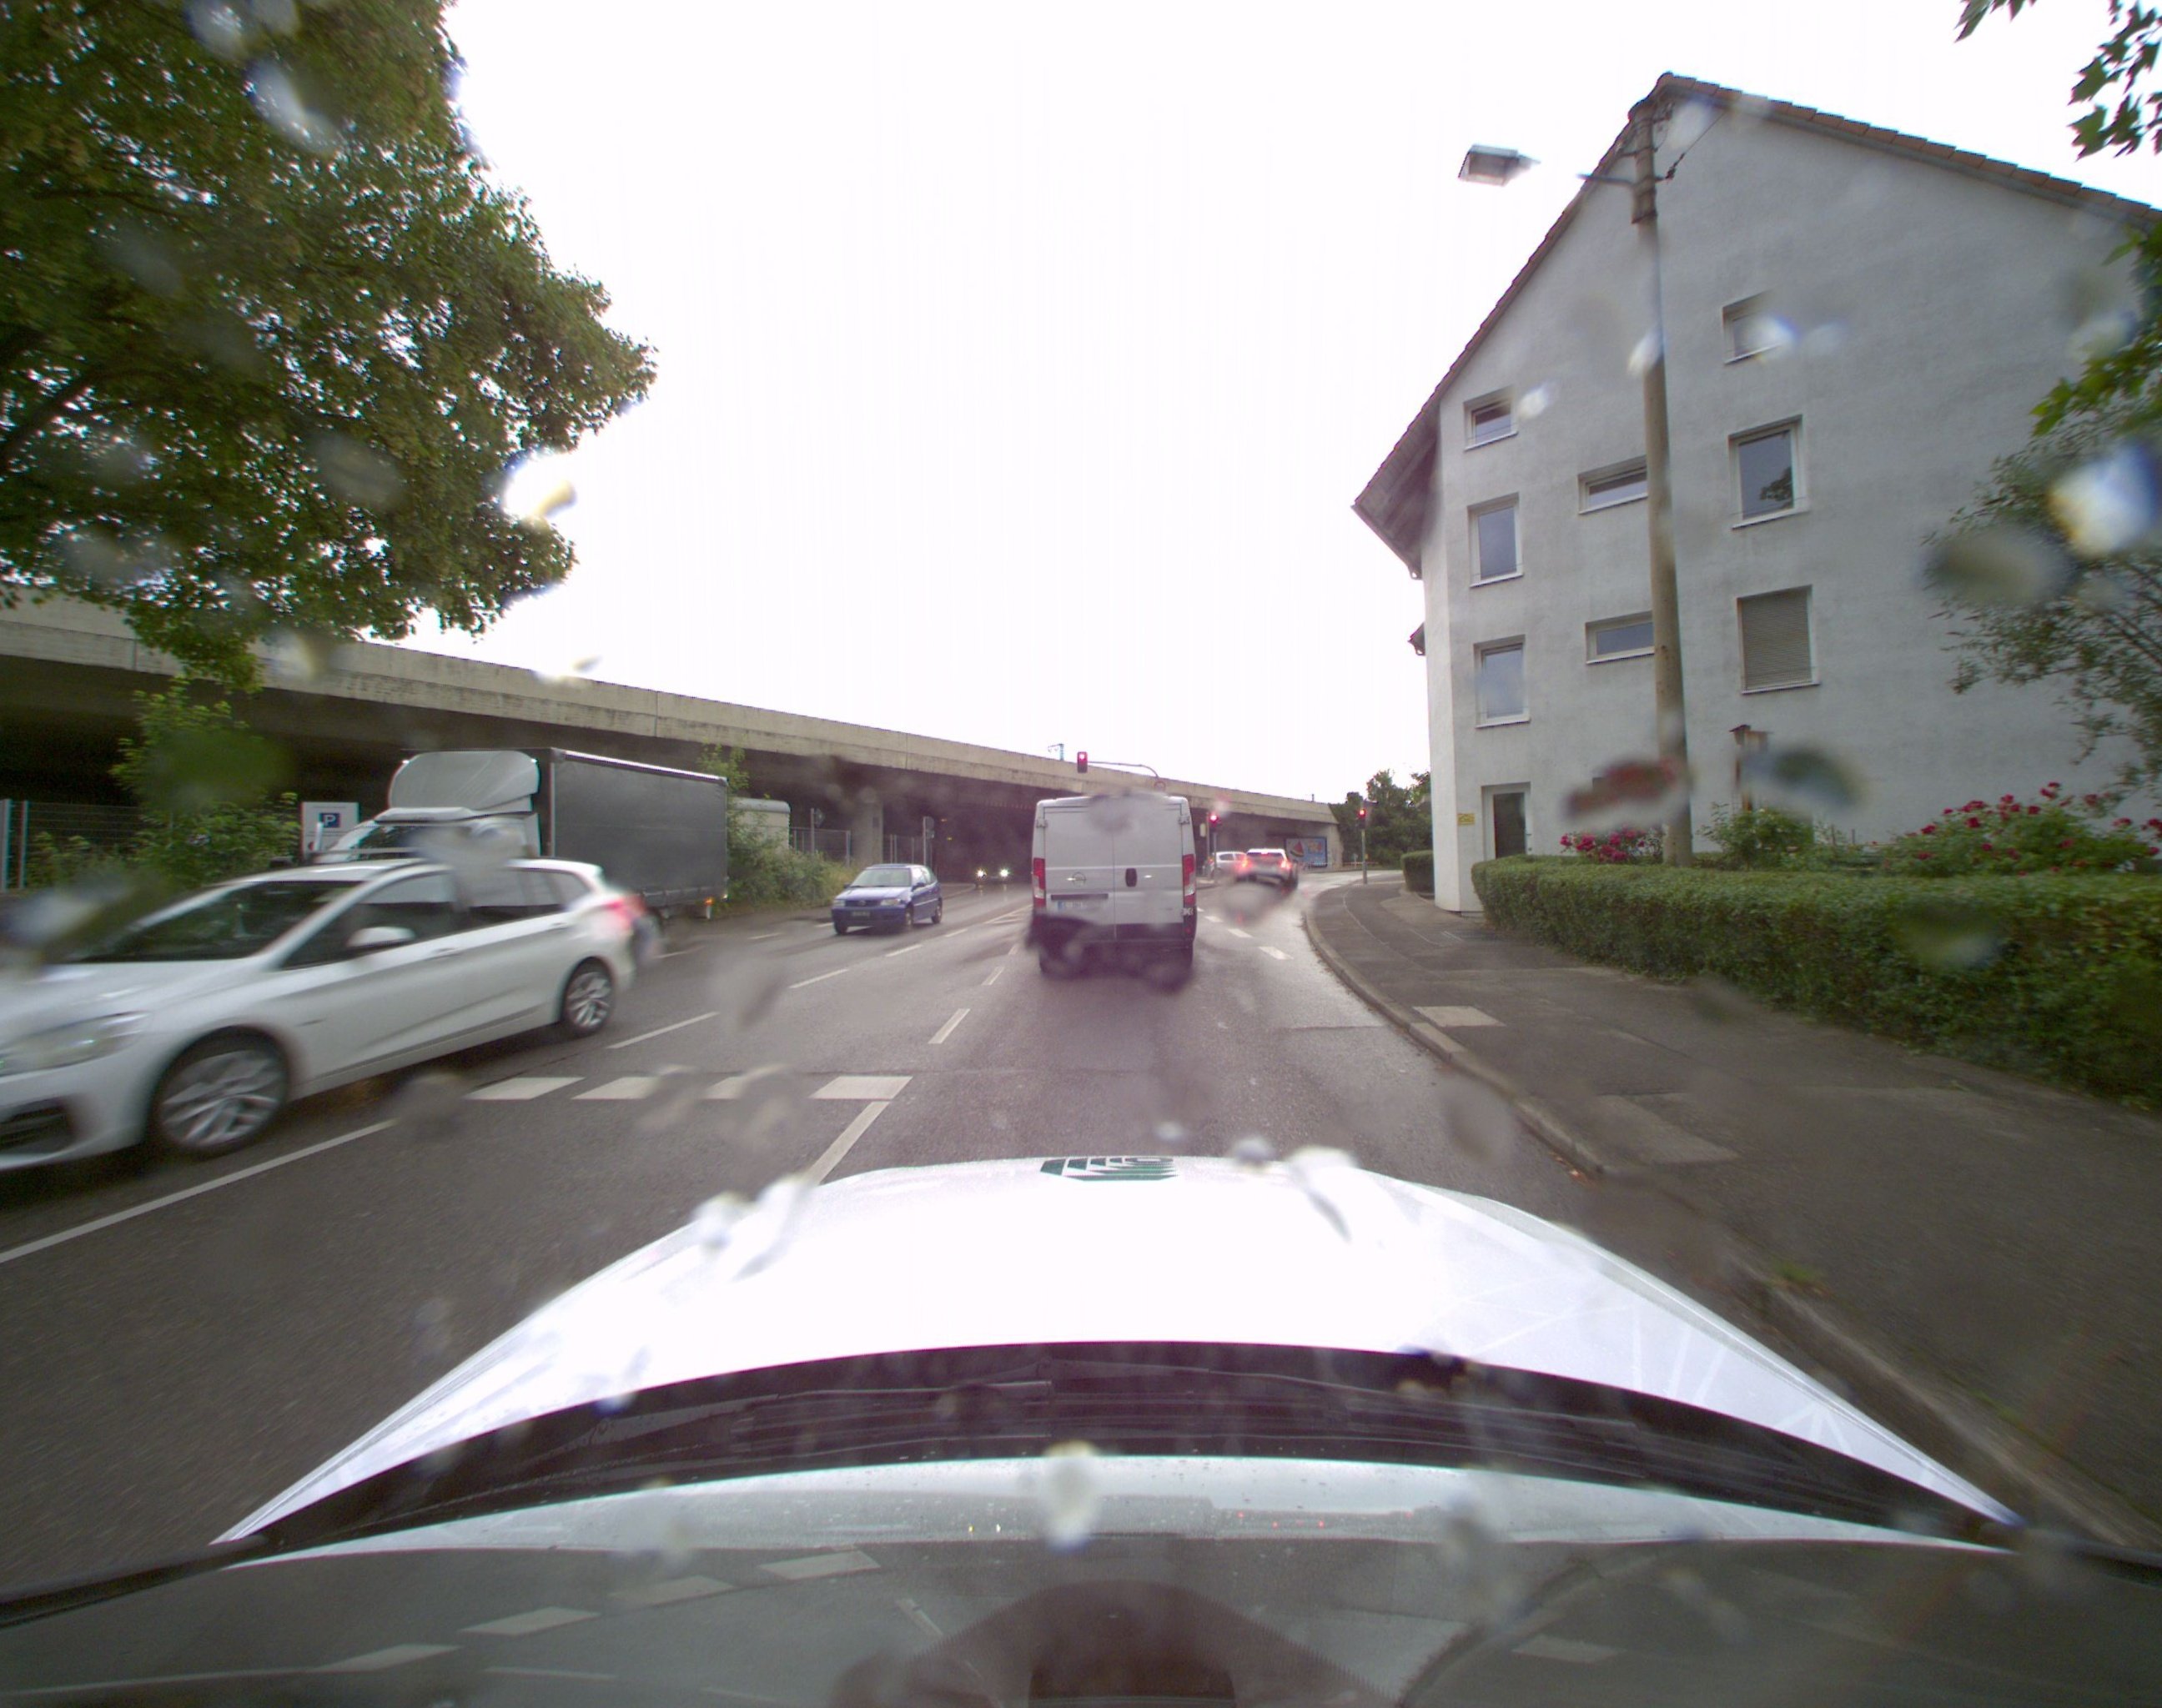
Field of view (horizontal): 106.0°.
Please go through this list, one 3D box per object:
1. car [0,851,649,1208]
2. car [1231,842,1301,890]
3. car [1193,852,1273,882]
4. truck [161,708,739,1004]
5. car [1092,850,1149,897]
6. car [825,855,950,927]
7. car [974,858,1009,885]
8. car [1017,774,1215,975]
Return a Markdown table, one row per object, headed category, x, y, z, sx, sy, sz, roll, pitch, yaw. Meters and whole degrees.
| category | x | y | z | sx | sy | sz | roll | pitch | yaw |
| --- | --- | --- | --- | --- | --- | --- | --- | --- | --- |
| car | -5.371 | 0.788 | 5.909 | 1.822 | 1.578 | 4.341 | 0 | 1 | 5 |
| car | 6.543 | 0.435 | 28.494 | 1.977 | 1.549 | 4.018 | -1 | -1 | 18 |
| car | 8.359 | 0.701 | 45.033 | 3.979 | 1.554 | 1.997 | -1 | -1 | -4 |
| truck | -8.657 | 0.067 | 12.901 | 2.598 | 3.237 | 7.786 | -1 | -1 | 5 |
| car | 1.648 | 0.779 | 32.353 | 1.983 | 1.729 | 4.006 | -1 | -1 | 6 |
| car | -4.192 | 0.750 | 18.195 | 1.590 | 1.426 | 3.702 | -1 | 0 | 5 |
| car | -5.664 | 1.039 | 50.899 | 1.842 | 1.569 | 4.396 | -1 | 0 | -10 |
| car | 0.568 | 0.244 | 12.427 | 2.295 | 2.343 | 5.287 | -2 | 0 | 3 |
